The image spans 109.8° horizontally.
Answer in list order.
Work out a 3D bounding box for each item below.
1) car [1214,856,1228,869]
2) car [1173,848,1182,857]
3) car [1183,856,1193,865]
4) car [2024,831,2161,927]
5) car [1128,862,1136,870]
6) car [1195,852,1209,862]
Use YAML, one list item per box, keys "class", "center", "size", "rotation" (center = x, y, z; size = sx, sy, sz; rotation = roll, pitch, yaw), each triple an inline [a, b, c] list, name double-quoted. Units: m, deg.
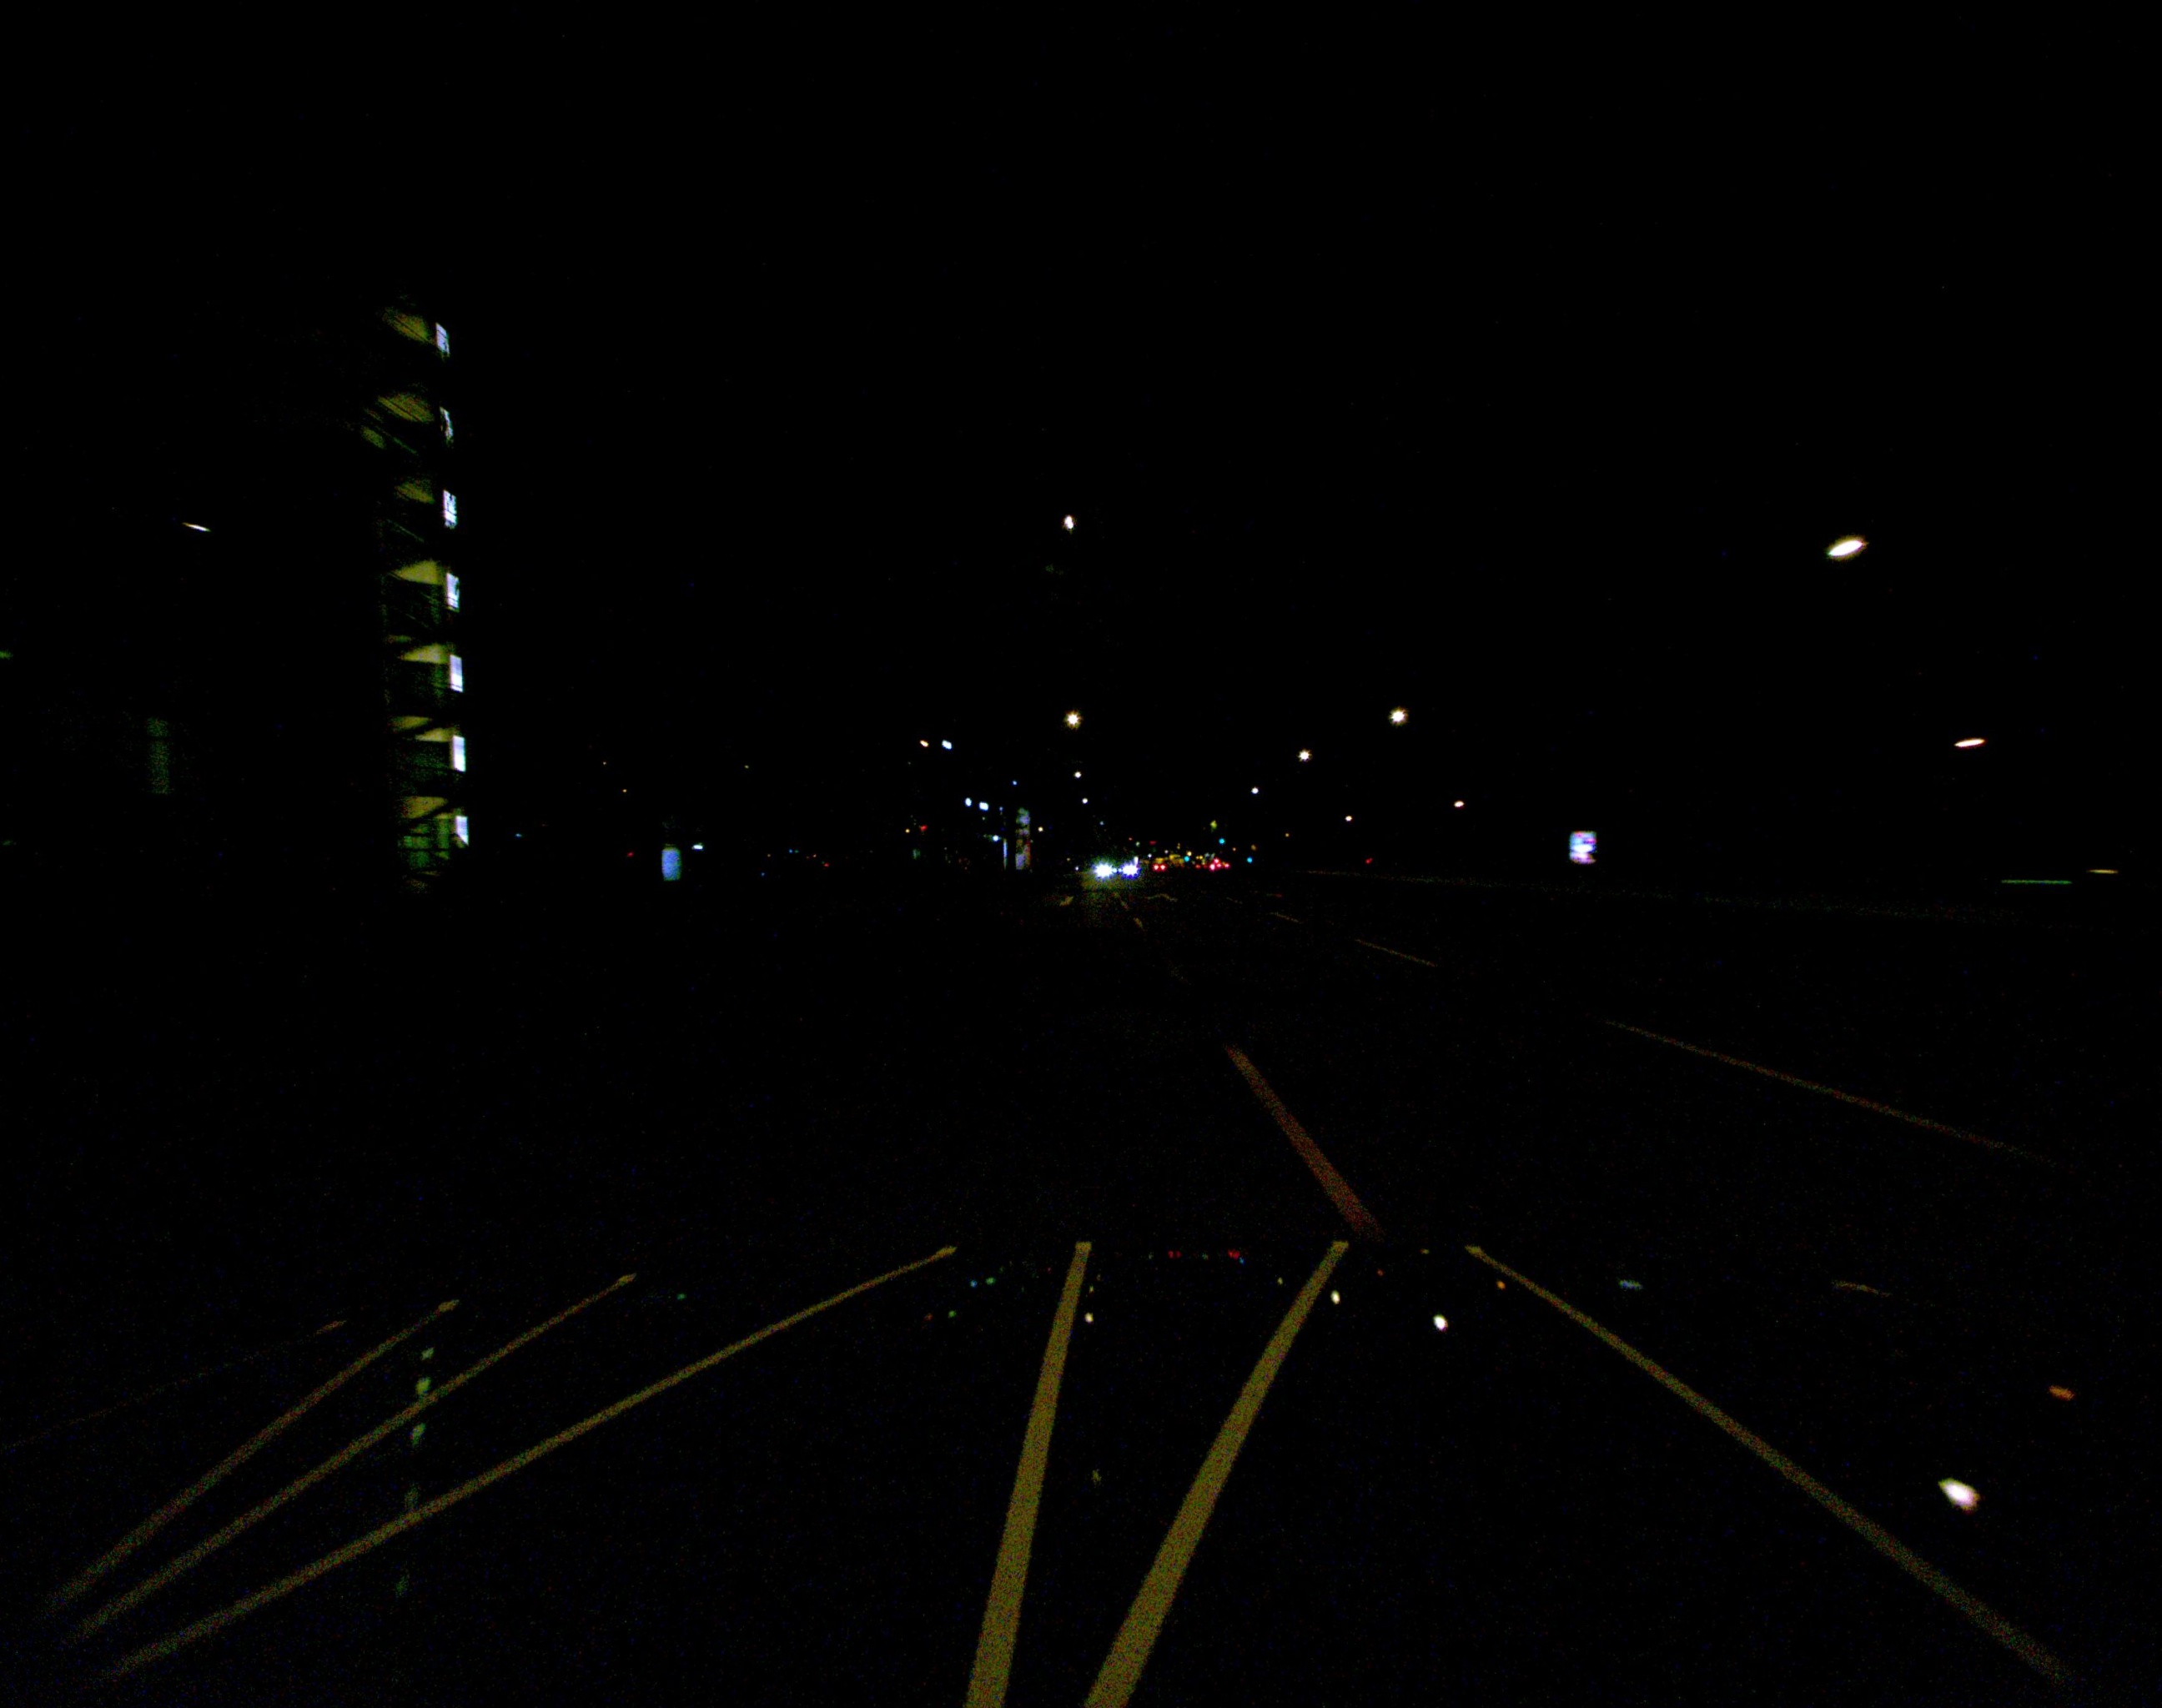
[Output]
- class: "car"
  center: [23.836, 1.472, 129.327]
  size: [2.059, 2.002, 4.002]
  rotation: [-2, 1, 9]
- class: "car"
  center: [21.369, -0.325, 168.178]
  size: [1.794, 1.896, 4.001]
  rotation: [-2, 1, 5]
- class: "car"
  center: [22.325, 1.391, 158.788]
  size: [1.794, 1.779, 4.001]
  rotation: [-2, 1, 5]
- class: "car"
  center: [19.613, 0.433, 13.127]
  size: [1.730, 1.616, 3.961]
  rotation: [-3, 1, 1]
- class: "car"
  center: [13.164, 3.131, 196.815]
  size: [1.794, 2.002, 4.001]
  rotation: [-2, 1, 6]
- class: "car"
  center: [21.697, 0.496, 136.725]
  size: [1.795, 1.728, 3.999]
  rotation: [-3, 1, -1]
